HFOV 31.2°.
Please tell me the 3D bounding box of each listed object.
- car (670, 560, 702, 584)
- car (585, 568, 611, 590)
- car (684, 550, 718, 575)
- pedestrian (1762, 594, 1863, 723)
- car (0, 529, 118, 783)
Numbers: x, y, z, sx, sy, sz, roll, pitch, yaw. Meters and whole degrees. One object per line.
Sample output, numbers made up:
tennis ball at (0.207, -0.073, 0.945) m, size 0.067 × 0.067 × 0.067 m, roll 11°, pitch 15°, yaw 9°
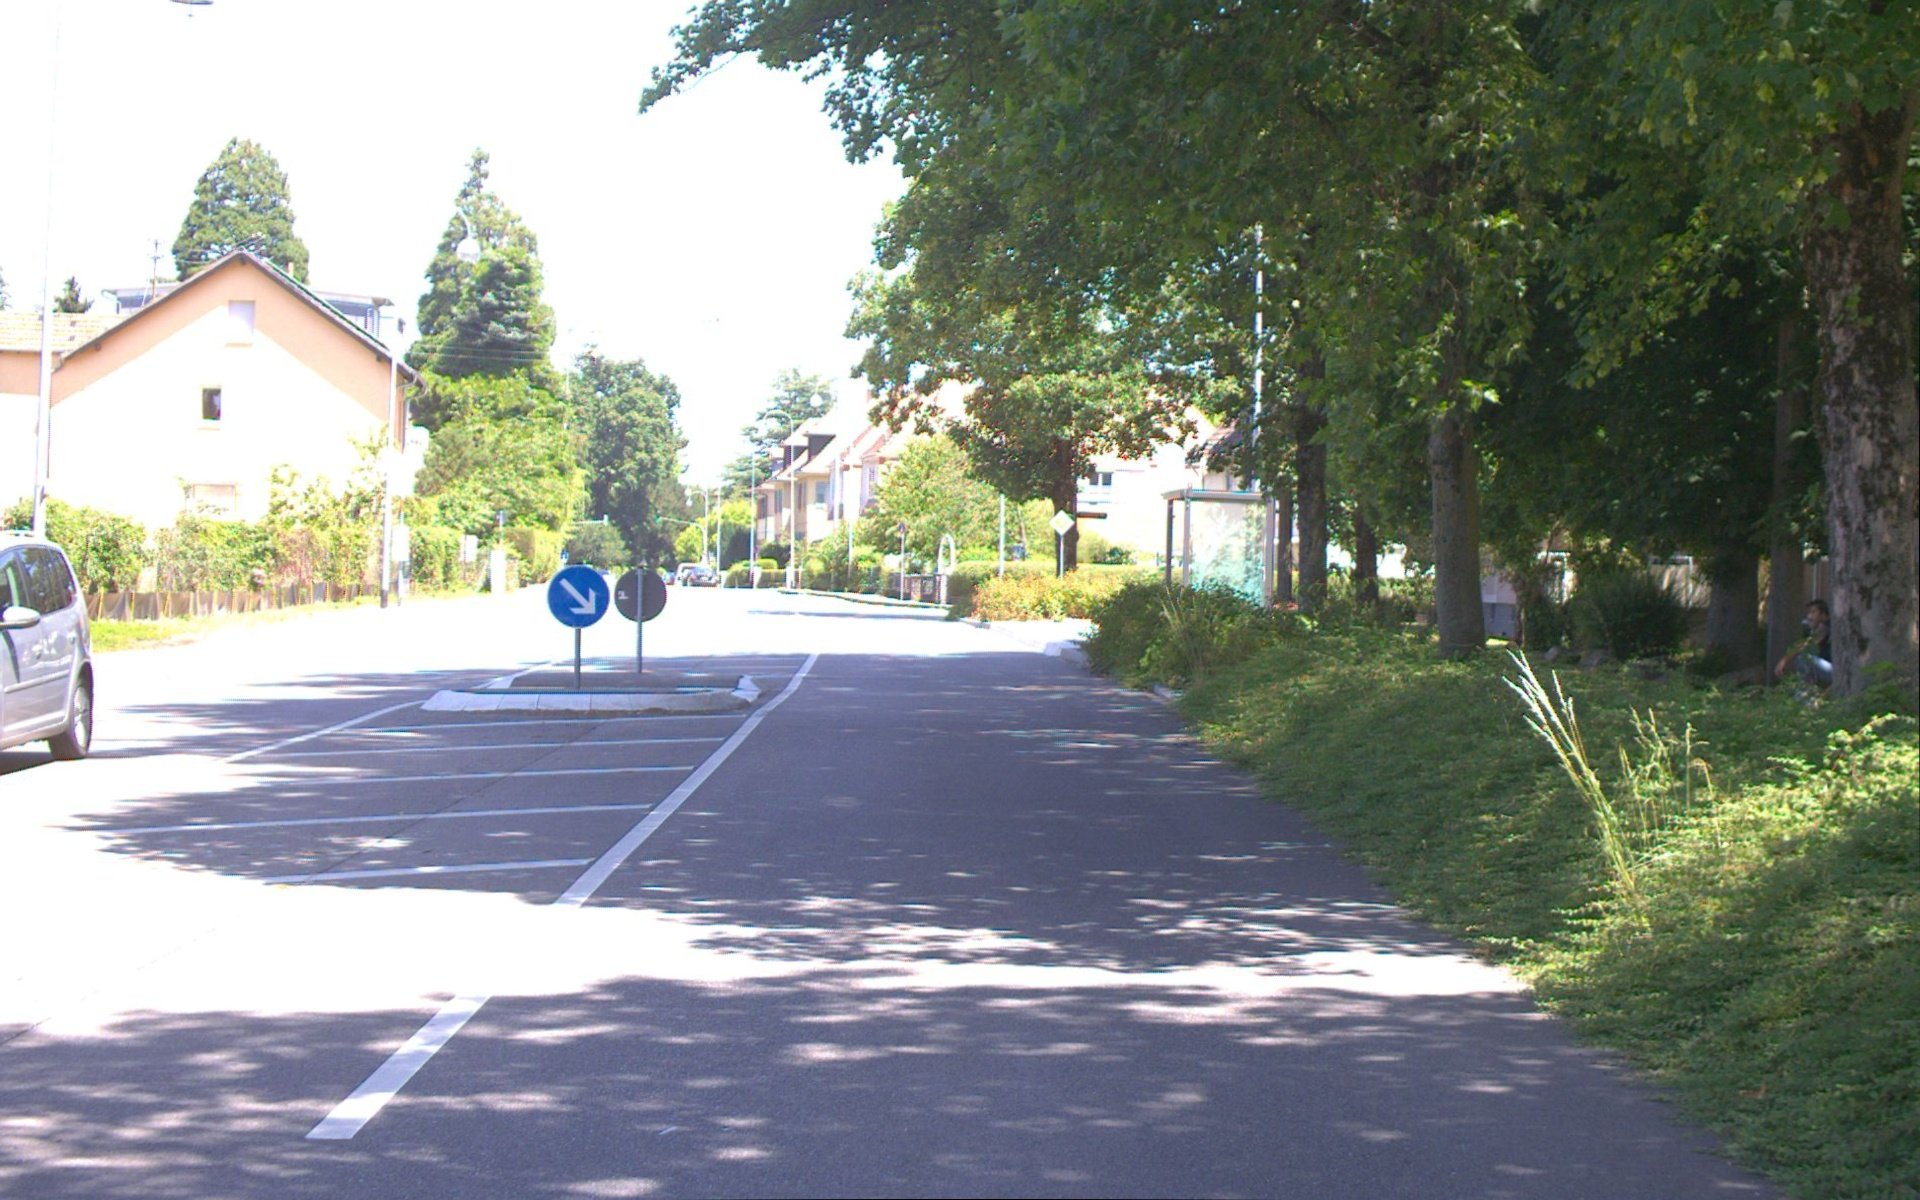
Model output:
car at (-17.281, -1.774, 216.922) m, size 1.692 × 1.414 × 4.552 m, roll 2°, pitch -1°, yaw -8°
car at (-24.105, -1.405, 228.955) m, size 1.680 × 1.368 × 4.207 m, roll 0°, pitch 1°, yaw -6°
car at (-15.651, -2.260, 207.430) m, size 1.692 × 1.414 × 4.552 m, roll 2°, pitch -1°, yaw -8°
pedestrian at (8.865, 0.594, 35.782) m, size 0.939 × 1.288 × 1.068 m, roll 2°, pitch 1°, yaw 11°
car at (-7.135, 0.351, 23.445) m, size 1.783 × 1.639 × 4.690 m, roll -1°, pitch 1°, yaw -2°
